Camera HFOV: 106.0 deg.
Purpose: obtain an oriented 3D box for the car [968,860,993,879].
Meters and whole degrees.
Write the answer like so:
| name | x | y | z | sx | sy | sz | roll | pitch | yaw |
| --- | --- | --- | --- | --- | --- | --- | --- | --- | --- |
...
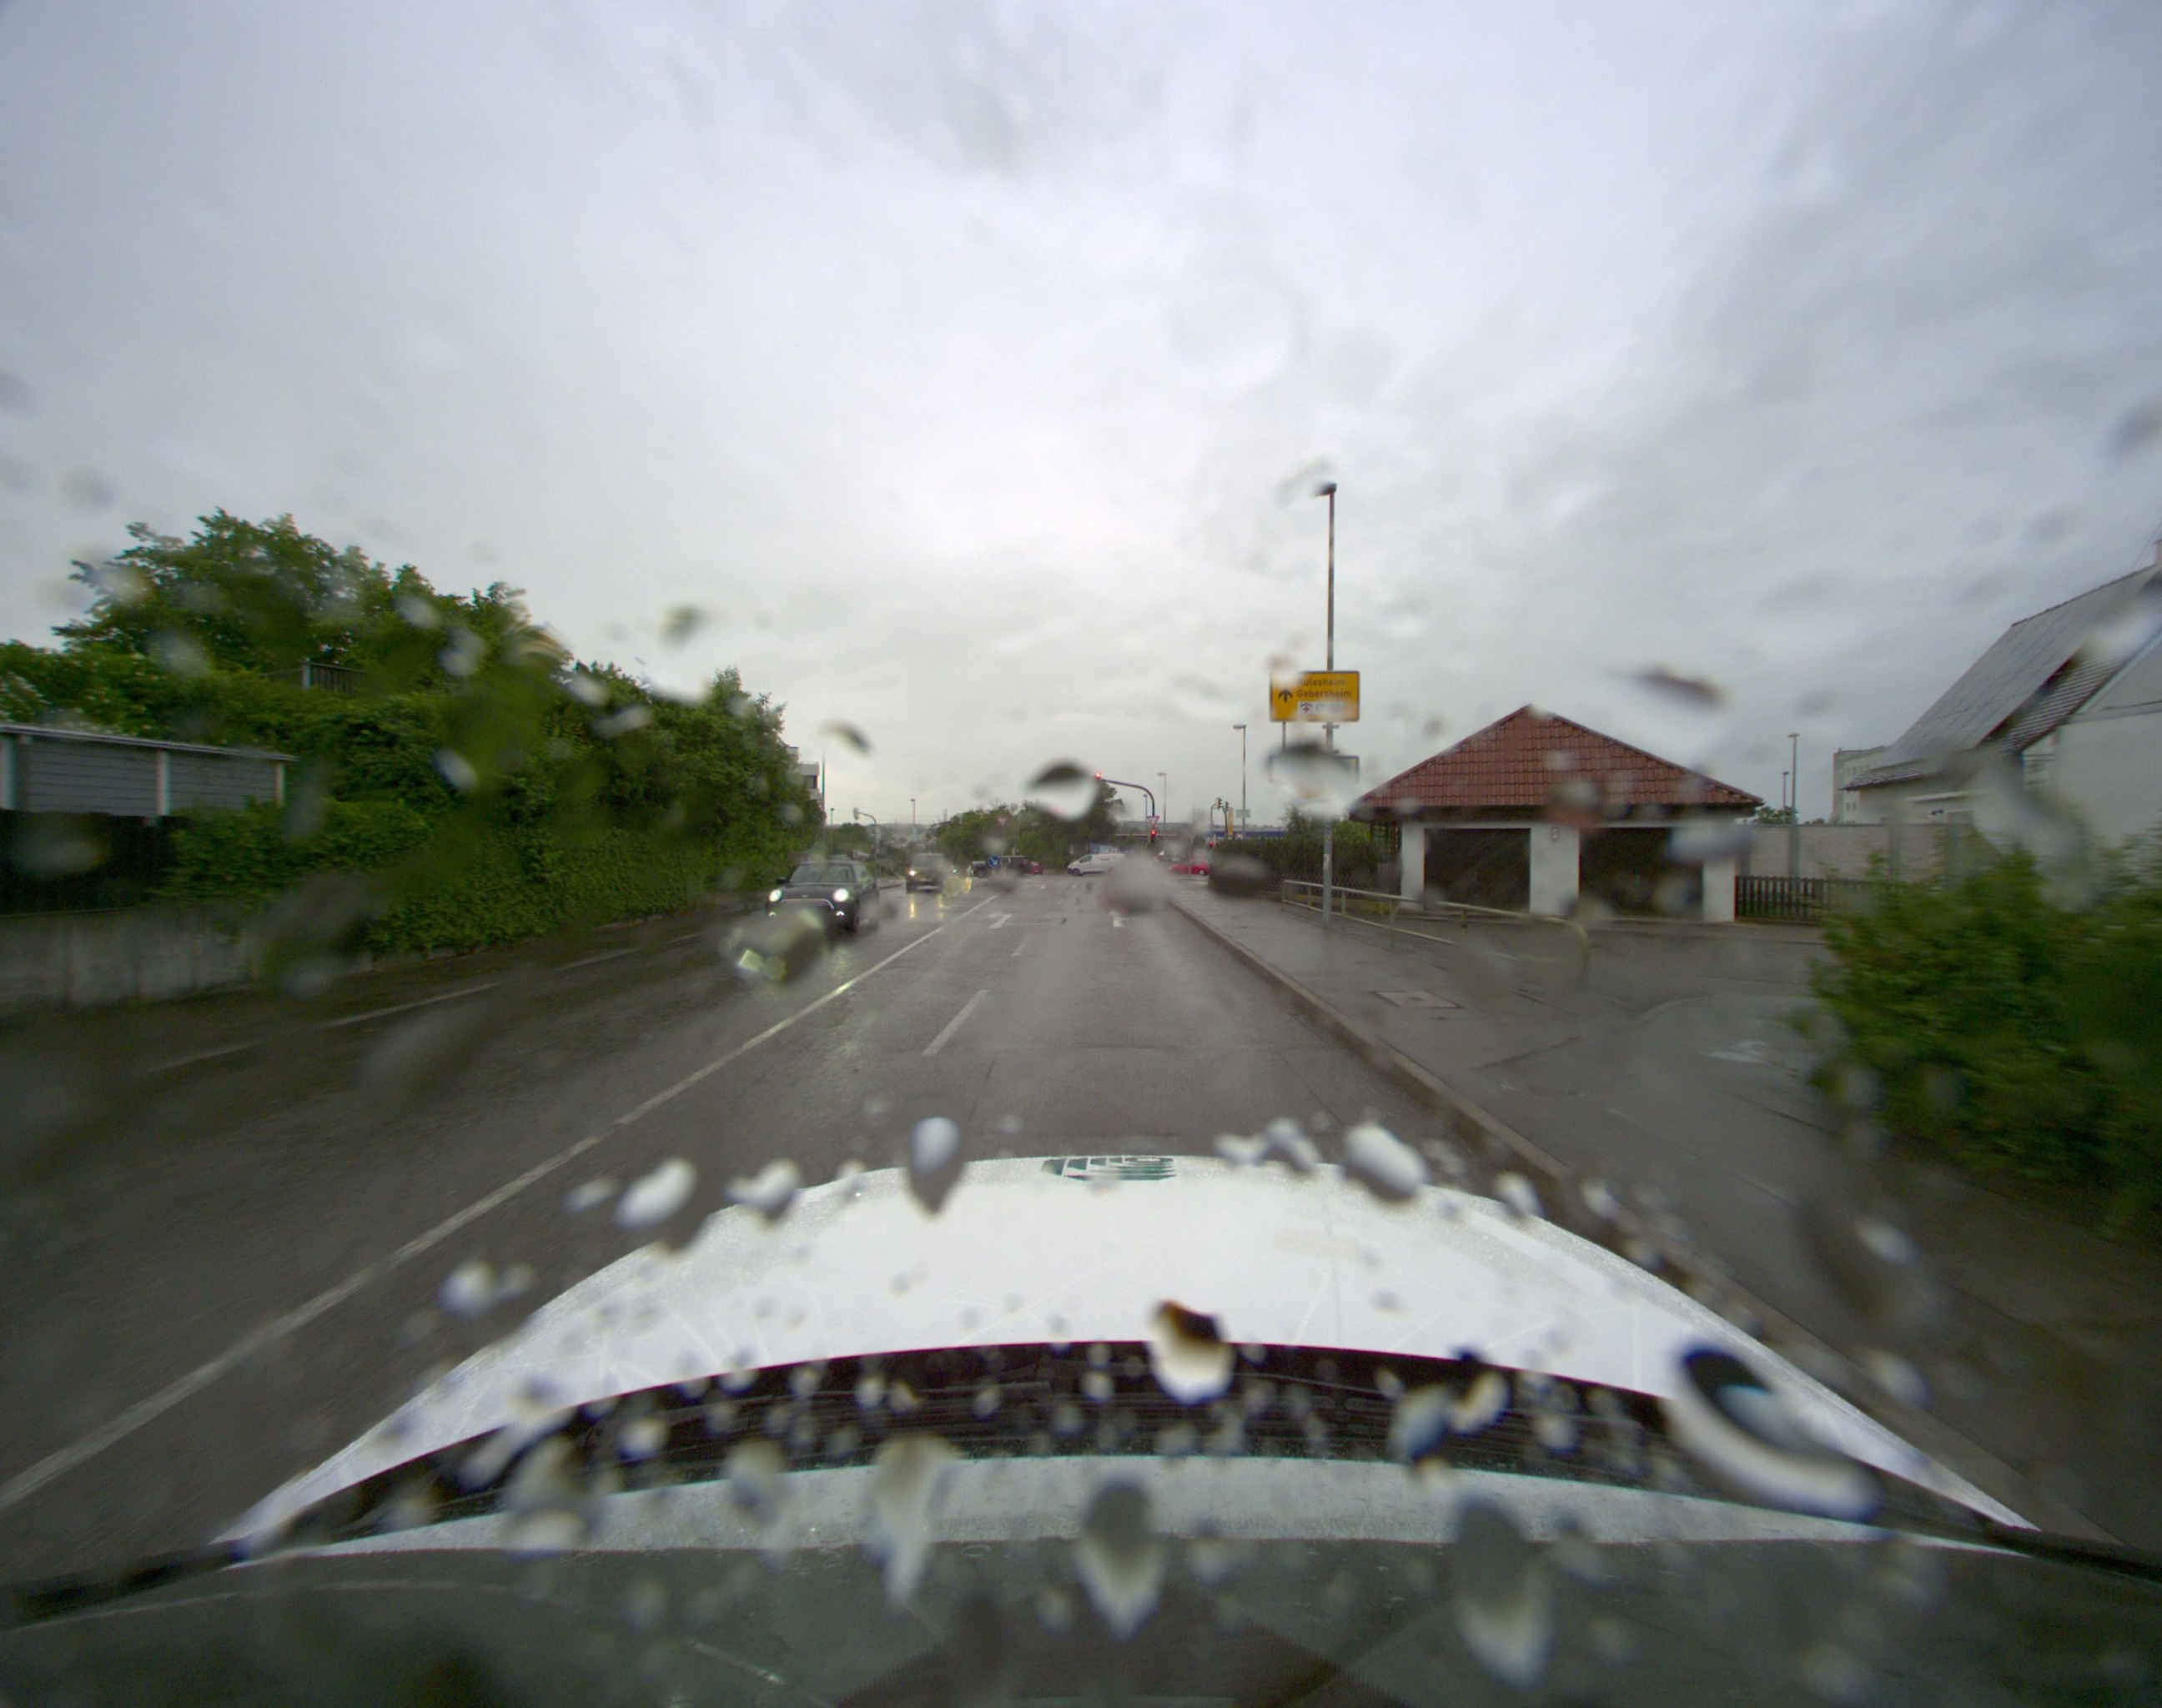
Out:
| name | x | y | z | sx | sy | sz | roll | pitch | yaw |
| --- | --- | --- | --- | --- | --- | --- | --- | --- | --- |
| car | -11.498 | 1.728 | 93.071 | 2.000 | 2.013 | 3.974 | -2 | 0 | -19 |

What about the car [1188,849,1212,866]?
| name | x | y | z | sx | sy | sz | roll | pitch | yaw |
| --- | --- | --- | --- | --- | --- | --- | --- | --- | --- |
| car | 14.935 | 0.432 | 102.148 | 1.976 | 2.013 | 4.022 | 0 | 0 | 22 |

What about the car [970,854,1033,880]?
| name | x | y | z | sx | sy | sz | roll | pitch | yaw |
| --- | --- | --- | --- | --- | --- | --- | --- | --- | --- |
| car | -7.504 | 1.210 | 77.199 | 5.433 | 2.013 | 2.006 | -4 | 0 | 10 |

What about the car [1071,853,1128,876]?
| name | x | y | z | sx | sy | sz | roll | pitch | yaw |
| --- | --- | --- | --- | --- | --- | --- | --- | --- | --- |
| car | 1.645 | 0.918 | 71.865 | 4.827 | 2.013 | 1.783 | 0 | 0 | 10 |

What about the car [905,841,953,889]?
| name | x | y | z | sx | sy | sz | roll | pitch | yaw |
| --- | --- | --- | --- | --- | --- | --- | --- | --- | --- |
| car | -6.744 | 0.434 | 36.375 | 1.769 | 2.013 | 3.992 | 0 | 0 | -6 |

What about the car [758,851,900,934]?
| name | x | y | z | sx | sy | sz | roll | pitch | yaw |
| --- | --- | --- | --- | --- | --- | --- | --- | --- | --- |
| car | -5.173 | 0.718 | 17.285 | 1.799 | 1.523 | 3.999 | 0 | 0 | -1 |

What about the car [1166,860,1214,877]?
| name | x | y | z | sx | sy | sz | roll | pitch | yaw |
| --- | --- | --- | --- | --- | --- | --- | --- | --- | --- |
| car | 9.935 | 1.284 | 74.263 | 3.953 | 1.486 | 2.011 | 1 | 0 | 21 |

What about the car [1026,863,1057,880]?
| name | x | y | z | sx | sy | sz | roll | pitch | yaw |
| --- | --- | --- | --- | --- | --- | --- | --- | --- | --- |
| car | -4.611 | 1.995 | 94.233 | 2.304 | 1.690 | 4.727 | -4 | 0 | -19 |
